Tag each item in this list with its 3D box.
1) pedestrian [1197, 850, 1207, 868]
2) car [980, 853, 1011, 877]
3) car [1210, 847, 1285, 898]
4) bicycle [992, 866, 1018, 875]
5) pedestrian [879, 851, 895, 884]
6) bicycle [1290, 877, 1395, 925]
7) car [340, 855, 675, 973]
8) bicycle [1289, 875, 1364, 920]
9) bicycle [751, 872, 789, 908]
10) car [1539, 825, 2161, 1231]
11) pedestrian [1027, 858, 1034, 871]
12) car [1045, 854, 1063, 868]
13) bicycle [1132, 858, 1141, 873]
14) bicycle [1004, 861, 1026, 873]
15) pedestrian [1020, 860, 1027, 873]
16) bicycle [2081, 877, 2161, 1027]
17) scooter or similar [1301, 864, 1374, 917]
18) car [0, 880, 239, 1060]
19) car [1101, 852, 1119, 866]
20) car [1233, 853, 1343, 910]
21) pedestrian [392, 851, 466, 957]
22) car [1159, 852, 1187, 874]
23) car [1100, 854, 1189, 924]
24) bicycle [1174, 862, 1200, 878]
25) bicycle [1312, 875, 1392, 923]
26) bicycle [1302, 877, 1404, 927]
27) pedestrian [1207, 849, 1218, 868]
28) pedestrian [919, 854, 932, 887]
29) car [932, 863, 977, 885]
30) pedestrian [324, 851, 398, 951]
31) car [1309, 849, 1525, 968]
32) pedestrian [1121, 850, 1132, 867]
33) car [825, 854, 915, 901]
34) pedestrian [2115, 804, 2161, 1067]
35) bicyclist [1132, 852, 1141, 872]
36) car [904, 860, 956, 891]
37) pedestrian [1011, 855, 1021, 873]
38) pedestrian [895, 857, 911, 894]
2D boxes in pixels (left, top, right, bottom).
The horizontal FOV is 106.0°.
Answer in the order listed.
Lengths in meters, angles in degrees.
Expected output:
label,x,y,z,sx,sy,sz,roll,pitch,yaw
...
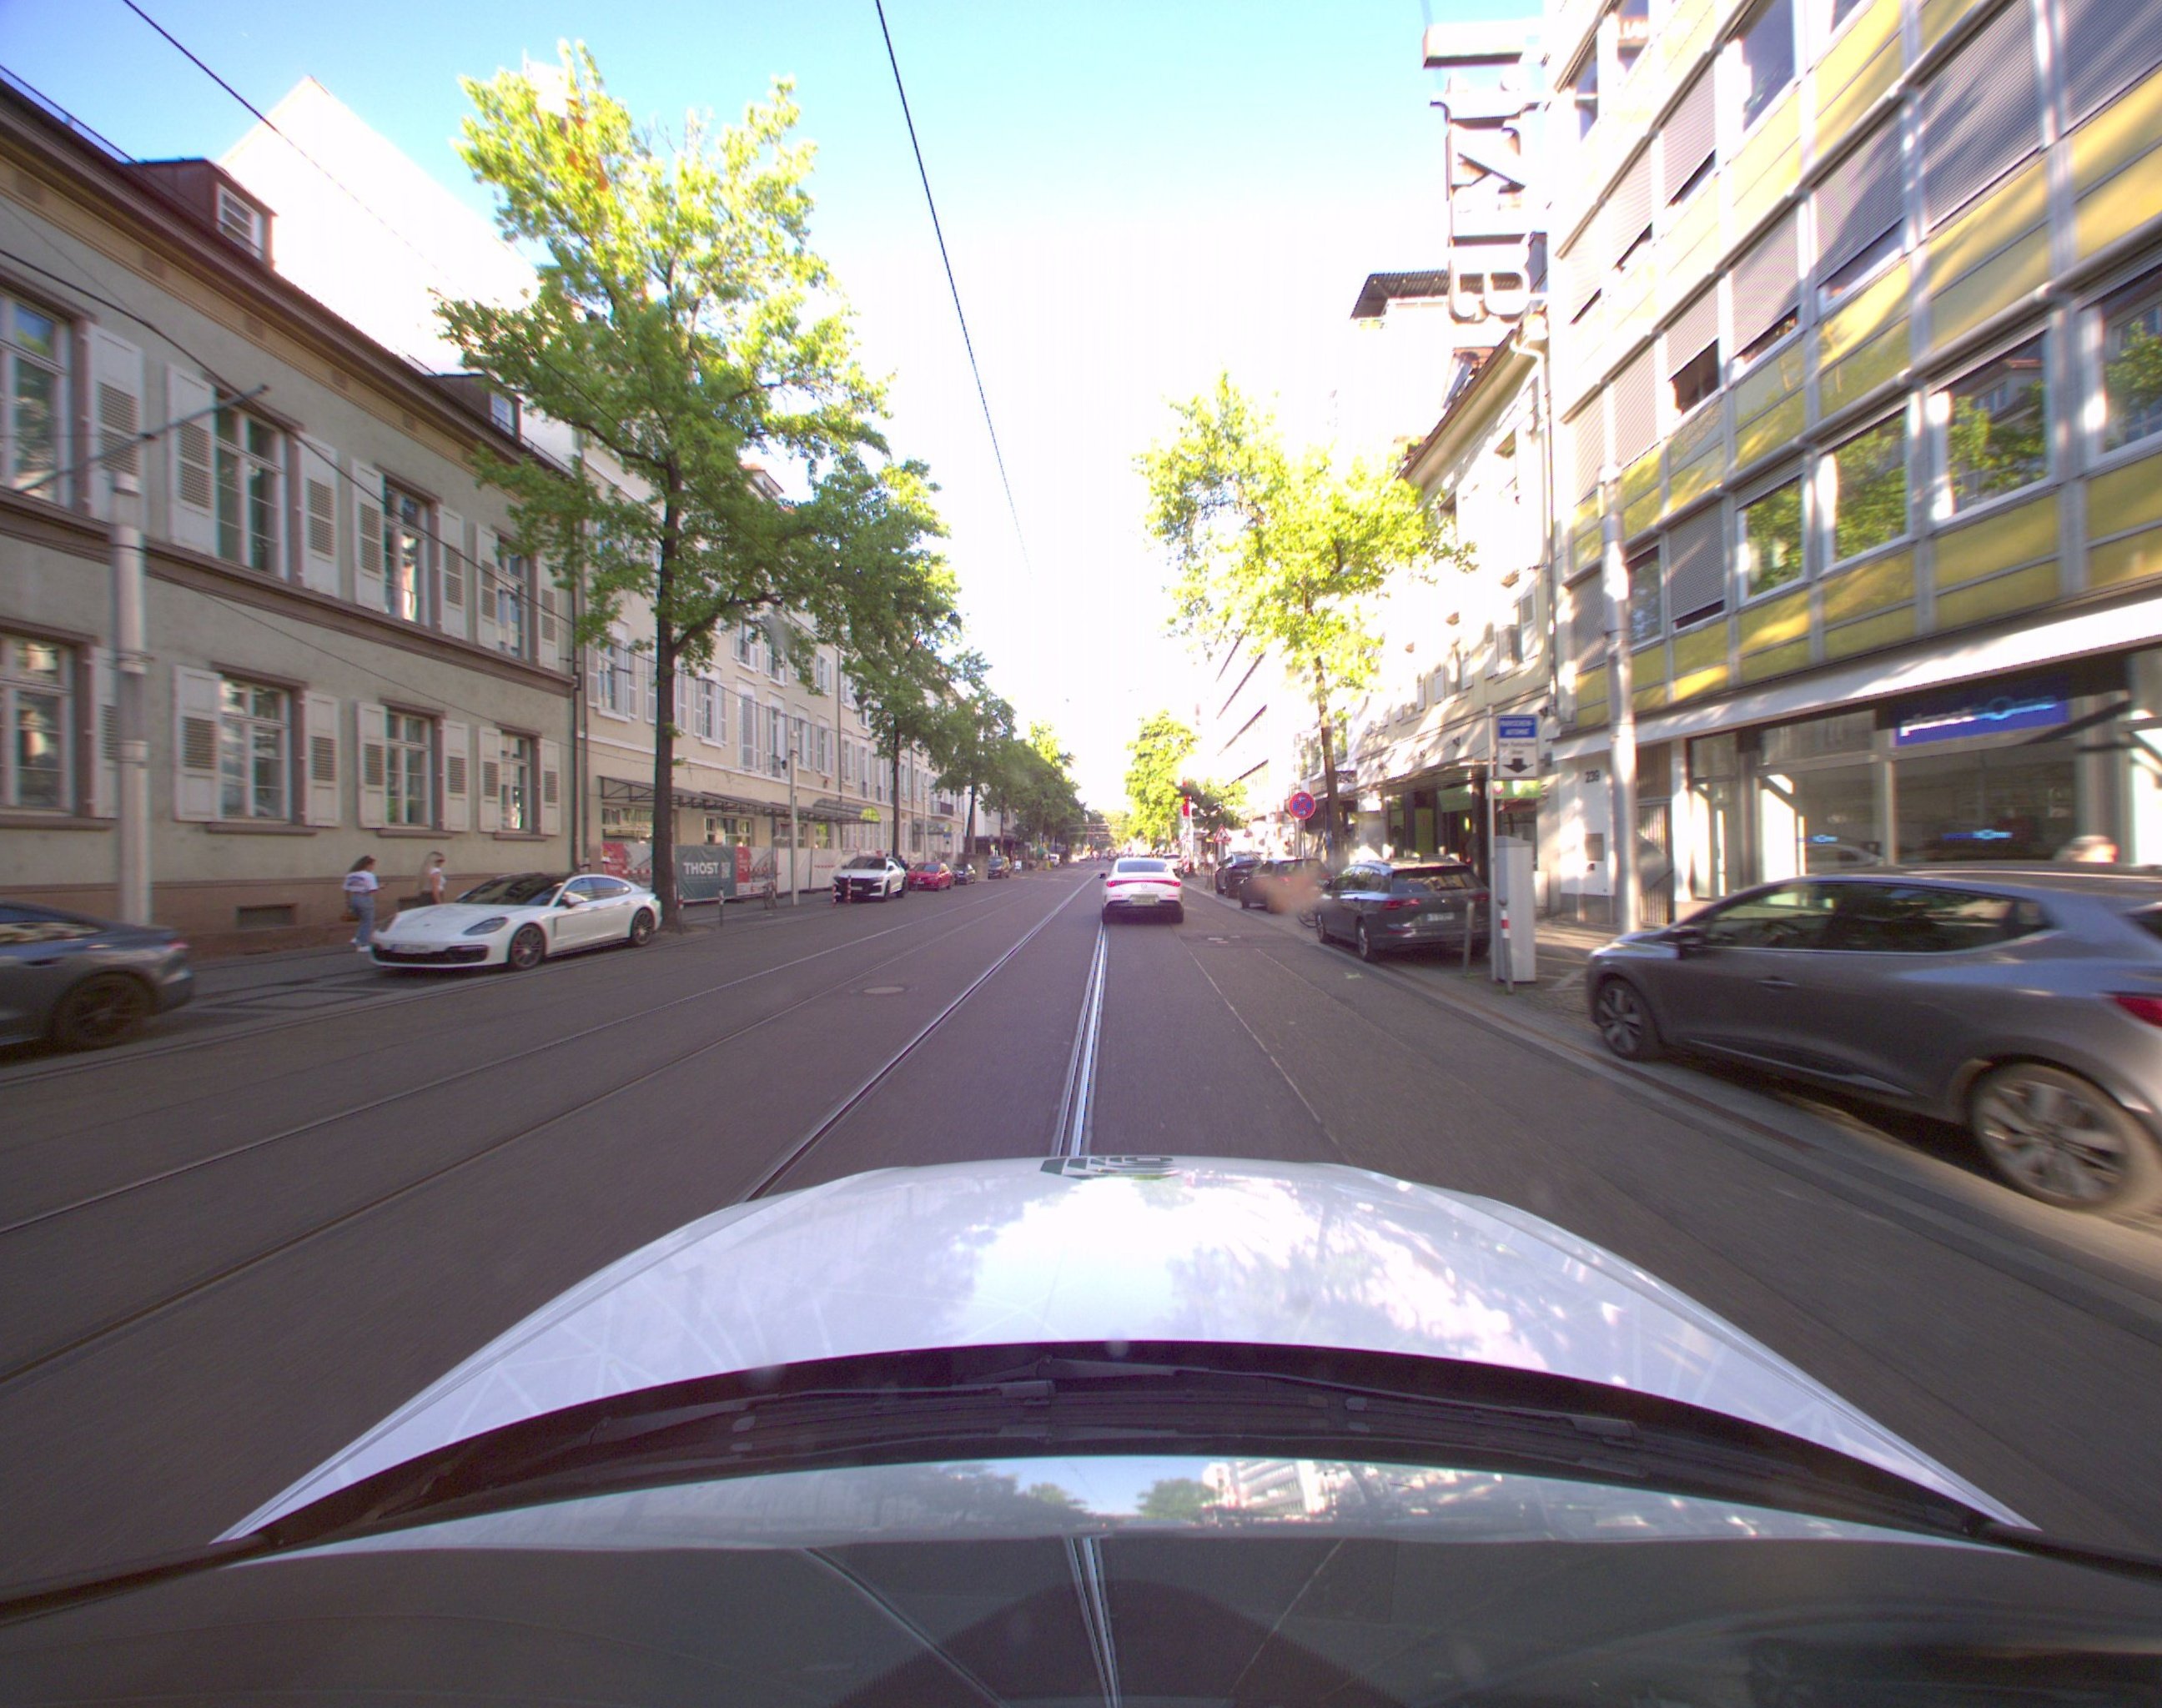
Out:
label,x,y,z,sx,sy,sz,roll,pitch,yaw
pedestrian,11.912,0.474,79.963,0.799,1.774,0.680,-1,0,-10
car,-6.646,0.821,63.603,1.543,1.796,3.177,-1,0,11
car,6.134,0.645,30.615,1.986,1.713,4.869,-1,0,2
bicycle,-6.859,1.489,73.792,2.232,0.830,0.721,-1,0,24
pedestrian,-10.677,0.750,44.833,0.706,1.806,0.675,-1,-1,-3
bicycle,5.340,0.965,16.707,2.026,0.964,0.282,-1,-1,7
car,-9.221,0.853,13.798,1.938,1.640,4.914,0,-1,4
bicycle,5.505,0.970,18.301,1.530,0.964,0.497,-1,-1,6
bicycle,-9.914,1.139,26.043,0.592,1.050,2.005,-1,0,-5
car,4.943,0.662,4.971,1.810,1.486,3.996,-5,0,-3
pedestrian,-5.920,1.263,94.990,0.519,1.478,0.645,-3,-1,-25
car,-4.151,1.050,126.372,1.981,2.014,4.012,-1,0,11
bicycle,4.774,0.984,69.915,0.737,1.188,2.162,-1,-1,3
bicycle,-6.634,1.311,82.084,2.050,1.136,0.870,-1,0,-13
pedestrian,-6.565,1.390,93.468,0.564,1.464,0.653,-1,0,21
bicycle,8.270,0.727,5.535,0.645,1.074,1.861,-2,0,1
scooter or similar,6.031,0.844,19.199,1.530,1.196,0.676,-1,-1,6
car,-9.706,0.961,6.004,1.956,1.412,4.845,0,-1,0
car,6.842,1.189,192.492,4.023,3.114,8.435,-1,-1,2
car,5.643,0.707,22.720,1.834,1.436,3.994,-1,0,-4
pedestrian,-10.907,0.821,13.634,0.683,1.721,0.656,-1,-1,2
car,7.572,0.730,67.249,1.985,1.728,4.243,-1,0,3
car,1.405,0.749,19.235,1.861,1.469,4.043,-1,0,1
bicycle,7.292,1.090,56.209,1.714,1.062,0.581,-1,0,5
bicycle,5.695,0.951,17.183,1.529,0.964,0.497,-1,-1,9
bicycle,5.442,0.971,16.351,1.886,0.964,0.333,-1,-1,7
pedestrian,12.841,0.448,79.494,0.799,1.774,0.680,-1,0,-10
pedestrian,-9.639,0.998,50.487,0.705,2.004,0.675,-1,-1,-1
car,-7.766,1.221,50.460,1.986,1.292,4.002,-1,0,2
pedestrian,-12.441,0.788,14.085,0.672,1.680,0.648,-1,-1,2
car,4.951,0.717,12.675,1.862,1.453,4.111,-3,0,4
pedestrian,4.862,0.469,87.056,0.920,1.774,0.870,-1,0,-12
car,-8.168,0.864,32.102,1.953,1.692,5.017,0,-1,3
pedestrian,7.144,0.503,4.952,0.794,1.646,0.700,-1,0,0
bicyclist,4.776,0.686,69.997,0.721,1.703,0.811,-1,-1,3
car,-7.749,1.074,42.215,1.681,1.499,4.238,0,-1,3
pedestrian,-6.575,1.011,82.105,0.920,1.774,0.870,-1,0,-12
pedestrian,-9.796,1.171,44.882,0.705,2.004,0.675,-1,-1,-1
